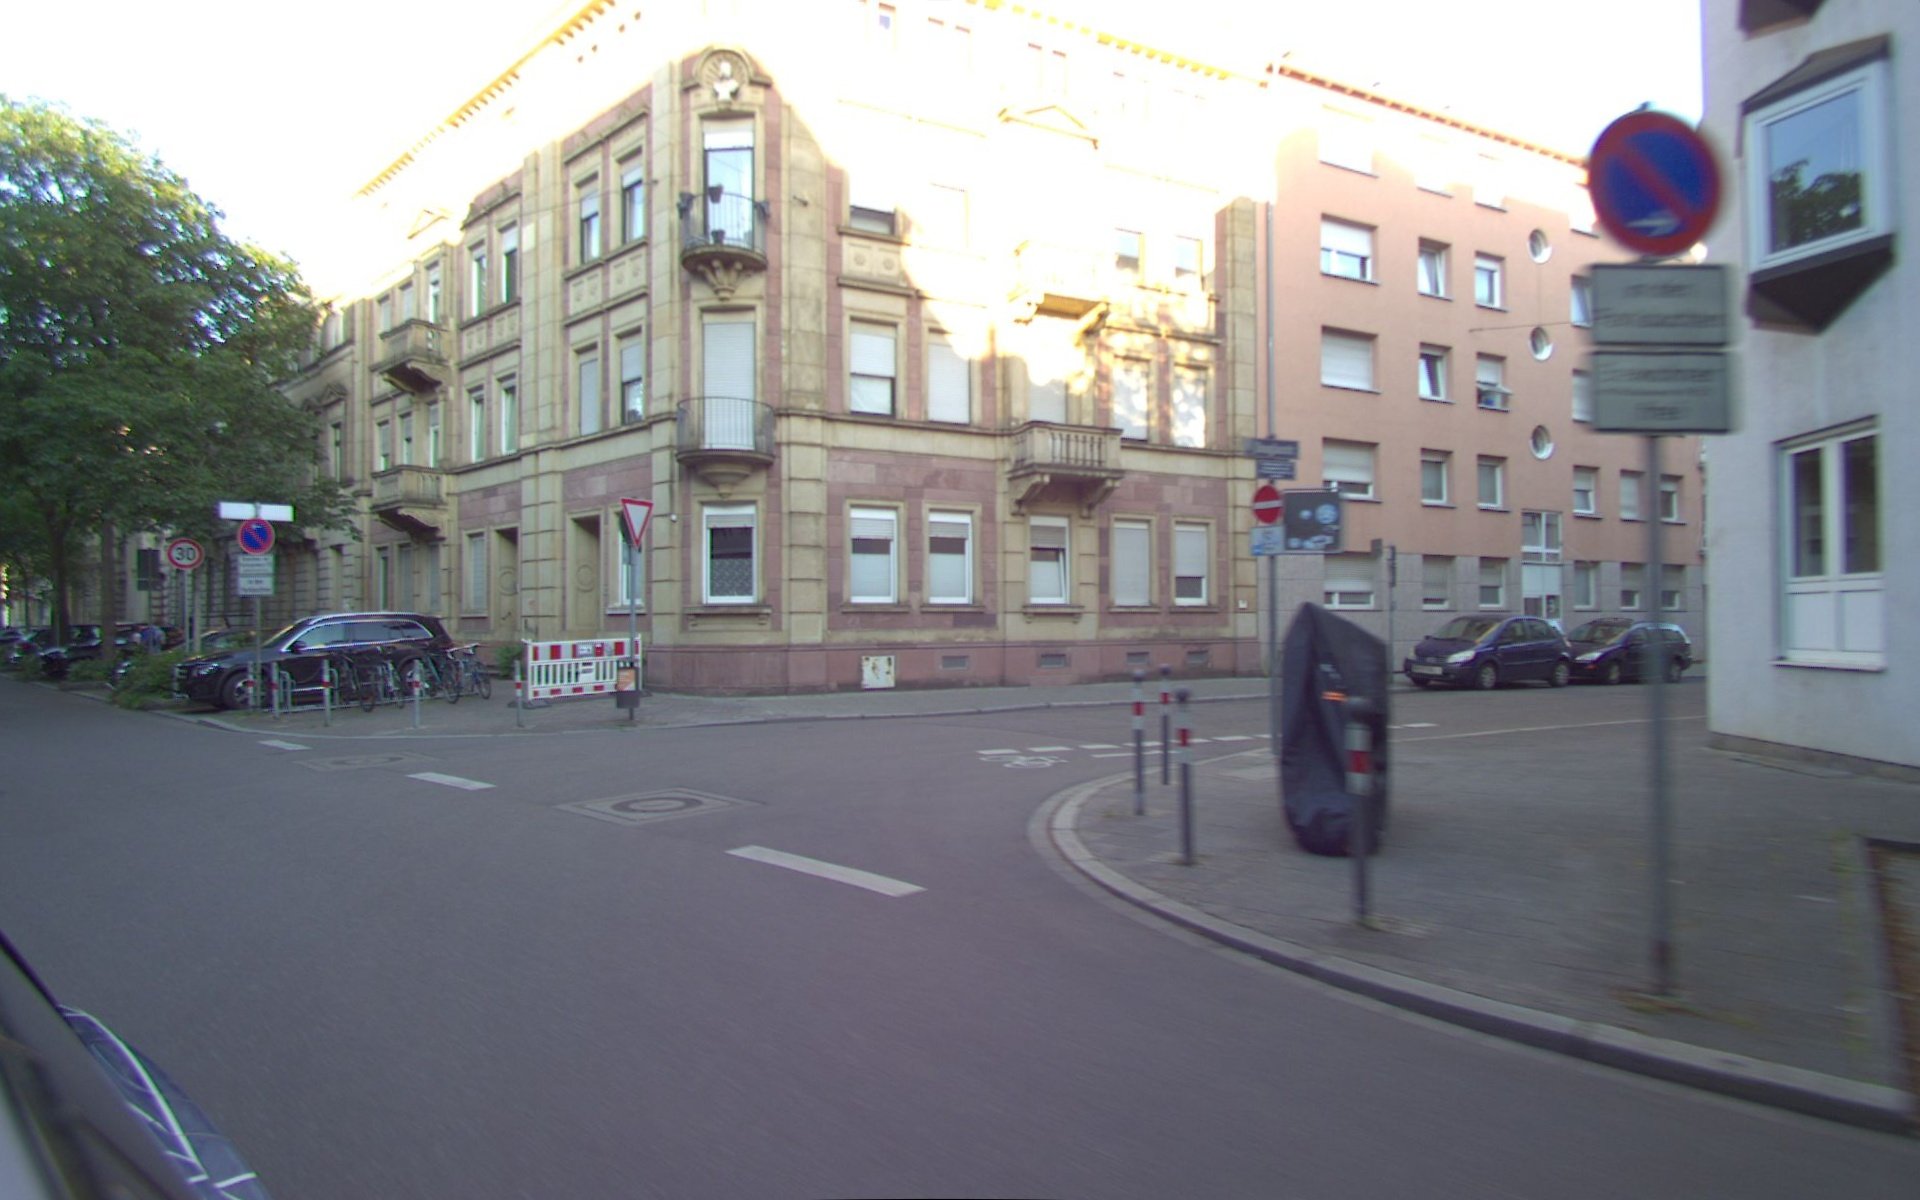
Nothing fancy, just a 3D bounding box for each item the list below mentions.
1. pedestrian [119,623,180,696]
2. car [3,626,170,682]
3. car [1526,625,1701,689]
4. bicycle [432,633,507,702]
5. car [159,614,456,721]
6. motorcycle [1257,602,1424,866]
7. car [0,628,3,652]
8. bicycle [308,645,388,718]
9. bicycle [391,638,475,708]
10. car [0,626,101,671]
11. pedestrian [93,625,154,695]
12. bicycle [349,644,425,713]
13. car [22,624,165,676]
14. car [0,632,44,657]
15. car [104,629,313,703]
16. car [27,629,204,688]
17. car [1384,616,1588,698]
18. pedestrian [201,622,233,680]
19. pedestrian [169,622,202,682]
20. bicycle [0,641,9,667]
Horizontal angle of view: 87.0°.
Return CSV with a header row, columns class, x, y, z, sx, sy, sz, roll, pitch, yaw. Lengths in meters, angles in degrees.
class,x,y,z,sx,sy,sz,roll,pitch,yaw
pedestrian,-19.752,1.440,24.689,0.786,1.750,0.831,0,-2,2
car,-30.185,1.828,35.065,1.907,1.684,4.157,-3,-1,41
car,16.004,1.338,24.775,3.940,1.358,1.844,0,1,-27
bicycle,-8.916,1.206,18.359,1.861,1.116,0.511,0,2,42
car,-12.187,1.181,19.131,1.872,1.663,4.379,-3,-1,42
motorcycle,2.629,0.786,6.934,0.854,1.493,2.199,-2,-2,23
car,-64.331,2.607,64.983,1.827,1.569,4.124,-2,-1,44
bicycle,-10.162,1.320,16.776,1.860,1.067,0.517,0,2,39
bicycle,-9.284,1.259,17.795,1.861,1.070,0.661,0,3,42
car,-39.578,2.070,43.385,1.780,1.608,3.925,-2,2,41
pedestrian,-20.598,1.463,24.939,0.786,1.683,0.831,0,-2,2
bicycle,-9.787,1.309,17.255,1.861,1.026,0.517,0,3,42
car,-31.777,1.806,37.172,1.713,1.684,3.762,-3,-1,40
car,-56.189,2.582,58.634,1.916,1.401,4.465,-2,-1,42
car,-17.782,1.504,24.038,1.871,1.469,3.654,-3,-1,40
car,-25.334,1.699,30.423,1.908,1.544,3.902,-2,-1,43
car,11.715,1.198,22.552,4.074,1.603,2.007,0,1,-27
pedestrian,-22.826,1.560,31.091,0.725,1.752,0.672,-1,-1,-42
pedestrian,-23.075,1.541,30.151,0.725,1.752,0.672,-1,-1,-42
bicycle,-48.542,2.708,50.388,1.750,1.241,0.500,0,0,-44
